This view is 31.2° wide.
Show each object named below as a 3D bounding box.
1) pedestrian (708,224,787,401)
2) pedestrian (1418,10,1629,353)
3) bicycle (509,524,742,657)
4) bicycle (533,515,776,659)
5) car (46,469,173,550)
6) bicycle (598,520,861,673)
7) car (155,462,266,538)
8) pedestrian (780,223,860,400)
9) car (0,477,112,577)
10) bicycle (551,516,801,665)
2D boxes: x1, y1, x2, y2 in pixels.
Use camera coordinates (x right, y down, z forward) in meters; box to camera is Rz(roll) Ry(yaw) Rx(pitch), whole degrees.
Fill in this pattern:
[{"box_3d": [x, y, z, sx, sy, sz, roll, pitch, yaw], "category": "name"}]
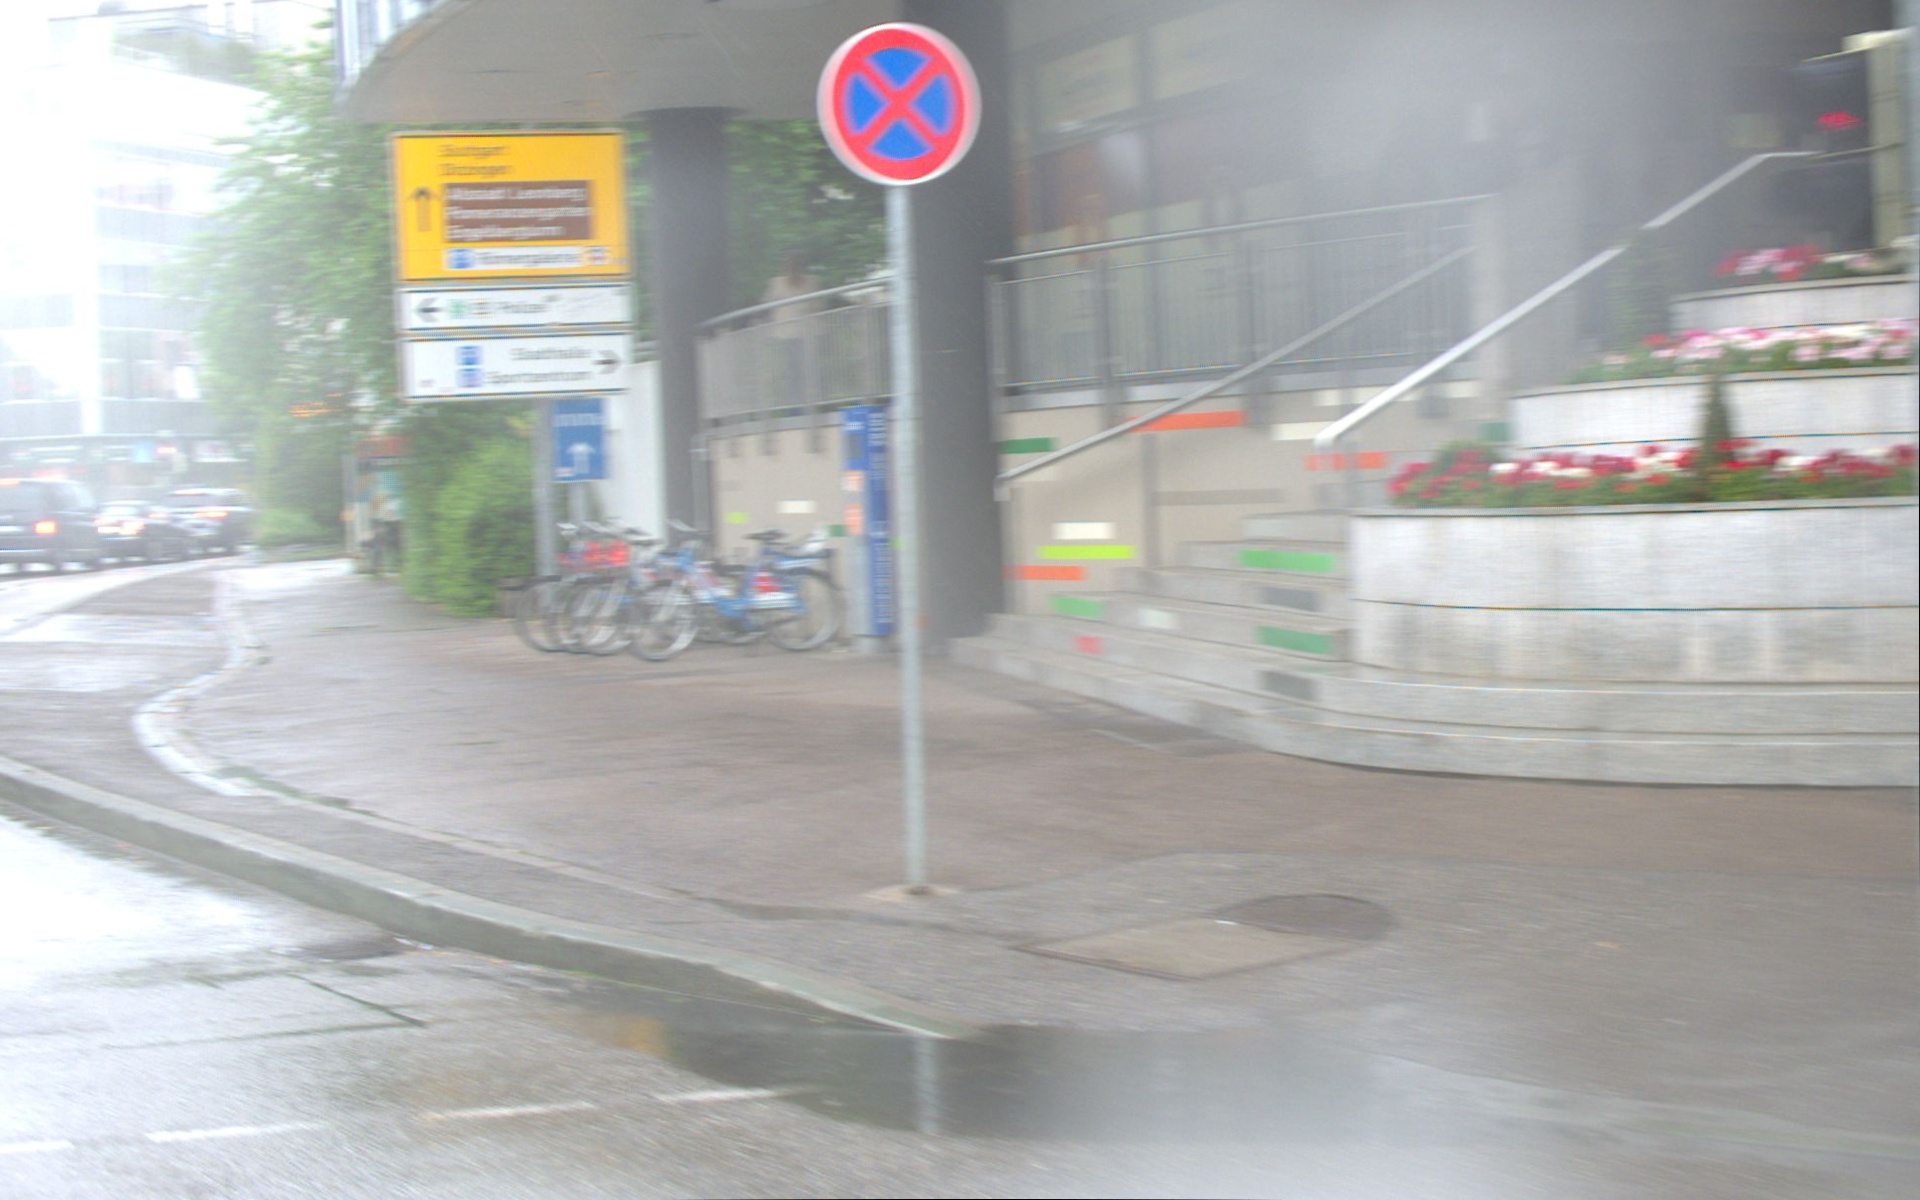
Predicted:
[{"box_3d": [-2.084, -2.809, 33.675, 0.652, 1.707, 0.600, -2, 3, -12], "category": "pedestrian"}, {"box_3d": [3.437, -2.529, 20.994, 0.949, 2.006, 0.833, -2, 3, -24], "category": "pedestrian"}, {"box_3d": [-2.851, -0.090, 29.329, 1.848, 0.948, 0.536, -5, 4, -14], "category": "bicycle"}, {"box_3d": [-2.547, -0.115, 28.689, 1.848, 1.029, 0.629, -5, 2, -17], "category": "bicycle"}, {"box_3d": [-19.209, -2.068, 77.812, 1.886, 1.666, 4.001, -2, 3, -1], "category": "car"}, {"box_3d": [-1.772, -0.034, 26.381, 1.848, 1.019, 0.632, -5, 2, -17], "category": "bicycle"}, {"box_3d": [-18.390, -2.473, 84.488, 1.910, 1.718, 3.810, -2, 3, -1], "category": "car"}, {"box_3d": [-1.377, -2.825, 33.744, 0.652, 1.707, 0.600, -2, 3, -12], "category": "pedestrian"}, {"box_3d": [-18.950, -1.511, 70.476, 2.043, 1.889, 4.140, -2, 3, 0], "category": "car"}, {"box_3d": [-2.310, -0.084, 27.968, 1.848, 1.039, 0.648, -5, 2, -17], "category": "bicycle"}]
